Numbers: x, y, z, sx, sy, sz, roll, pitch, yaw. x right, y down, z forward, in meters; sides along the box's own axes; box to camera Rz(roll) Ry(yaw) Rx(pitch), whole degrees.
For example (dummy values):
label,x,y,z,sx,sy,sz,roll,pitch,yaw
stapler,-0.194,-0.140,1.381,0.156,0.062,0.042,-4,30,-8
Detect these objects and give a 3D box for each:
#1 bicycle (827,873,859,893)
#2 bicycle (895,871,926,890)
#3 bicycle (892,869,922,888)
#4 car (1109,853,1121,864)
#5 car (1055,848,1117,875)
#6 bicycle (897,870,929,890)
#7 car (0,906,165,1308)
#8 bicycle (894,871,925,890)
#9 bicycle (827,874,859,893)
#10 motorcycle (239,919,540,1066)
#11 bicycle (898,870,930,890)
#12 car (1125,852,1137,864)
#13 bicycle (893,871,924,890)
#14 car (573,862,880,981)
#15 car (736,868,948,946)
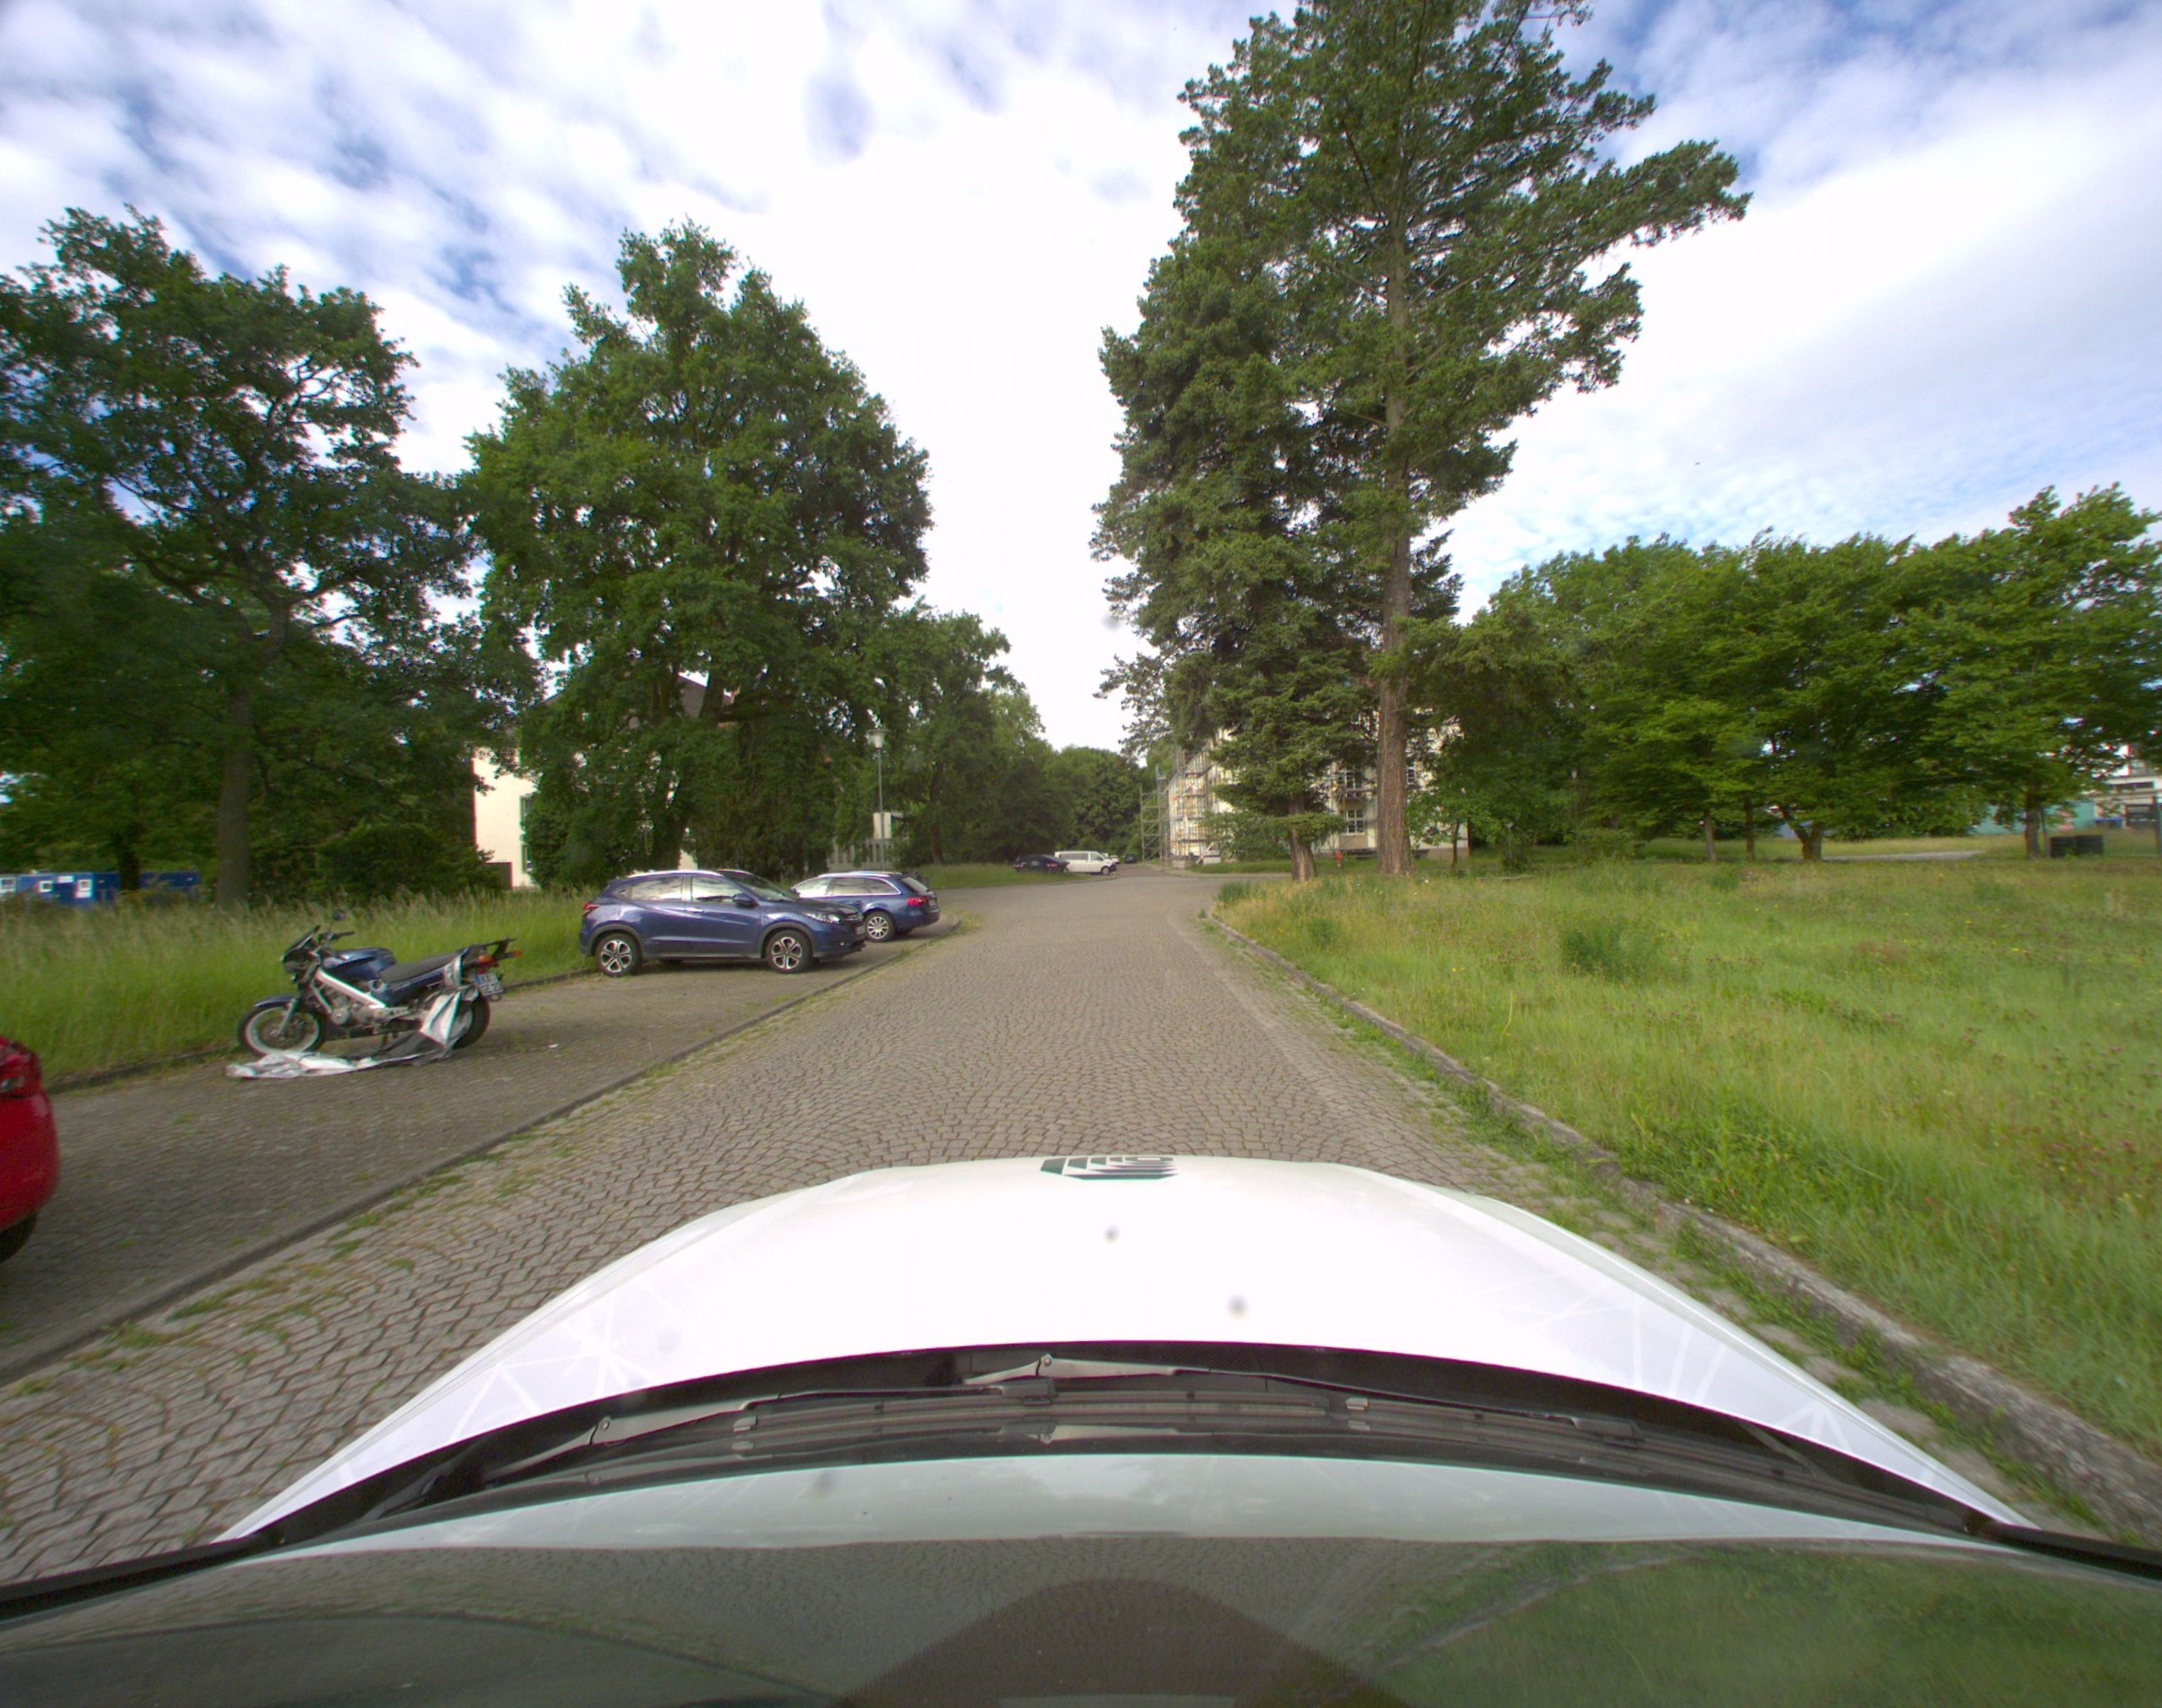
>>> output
label,x,y,z,sx,sy,sz,roll,pitch,yaw
bicycle,-13.649,1.682,46.721,1.706,1.053,0.571,-2,-2,-19
bicycle,-9.999,1.549,47.811,1.706,1.053,0.571,-2,-2,-19
bicycle,-10.673,1.495,50.024,1.706,1.053,0.571,-2,-2,-19
car,5.542,0.792,132.537,1.784,1.636,4.061,-3,-2,1
car,0.401,0.658,66.572,4.961,2.073,2.052,-1,-2,0
bicycle,-9.698,1.511,46.908,1.706,1.053,0.571,-2,-2,-19
car,-6.044,1.047,2.767,3.802,1.489,1.788,-2,0,1
bicycle,-10.238,1.580,48.543,1.706,1.053,0.571,-2,-2,-19
bicycle,-13.825,1.706,47.273,1.706,1.053,0.571,-2,-2,-19
motorcycle,-6.184,1.227,7.337,2.216,1.159,0.648,-2,0,4
bicycle,-9.508,1.487,46.341,1.706,1.053,0.571,-2,-2,-19
car,8.164,0.640,132.792,1.784,1.720,4.061,-3,-2,1
bicycle,-10.415,1.605,49.158,1.706,1.053,0.571,-2,-2,-19
car,-5.495,1.011,13.011,4.058,1.604,1.787,-2,0,0
car,-5.113,1.112,17.702,4.051,1.467,1.628,-2,0,5
